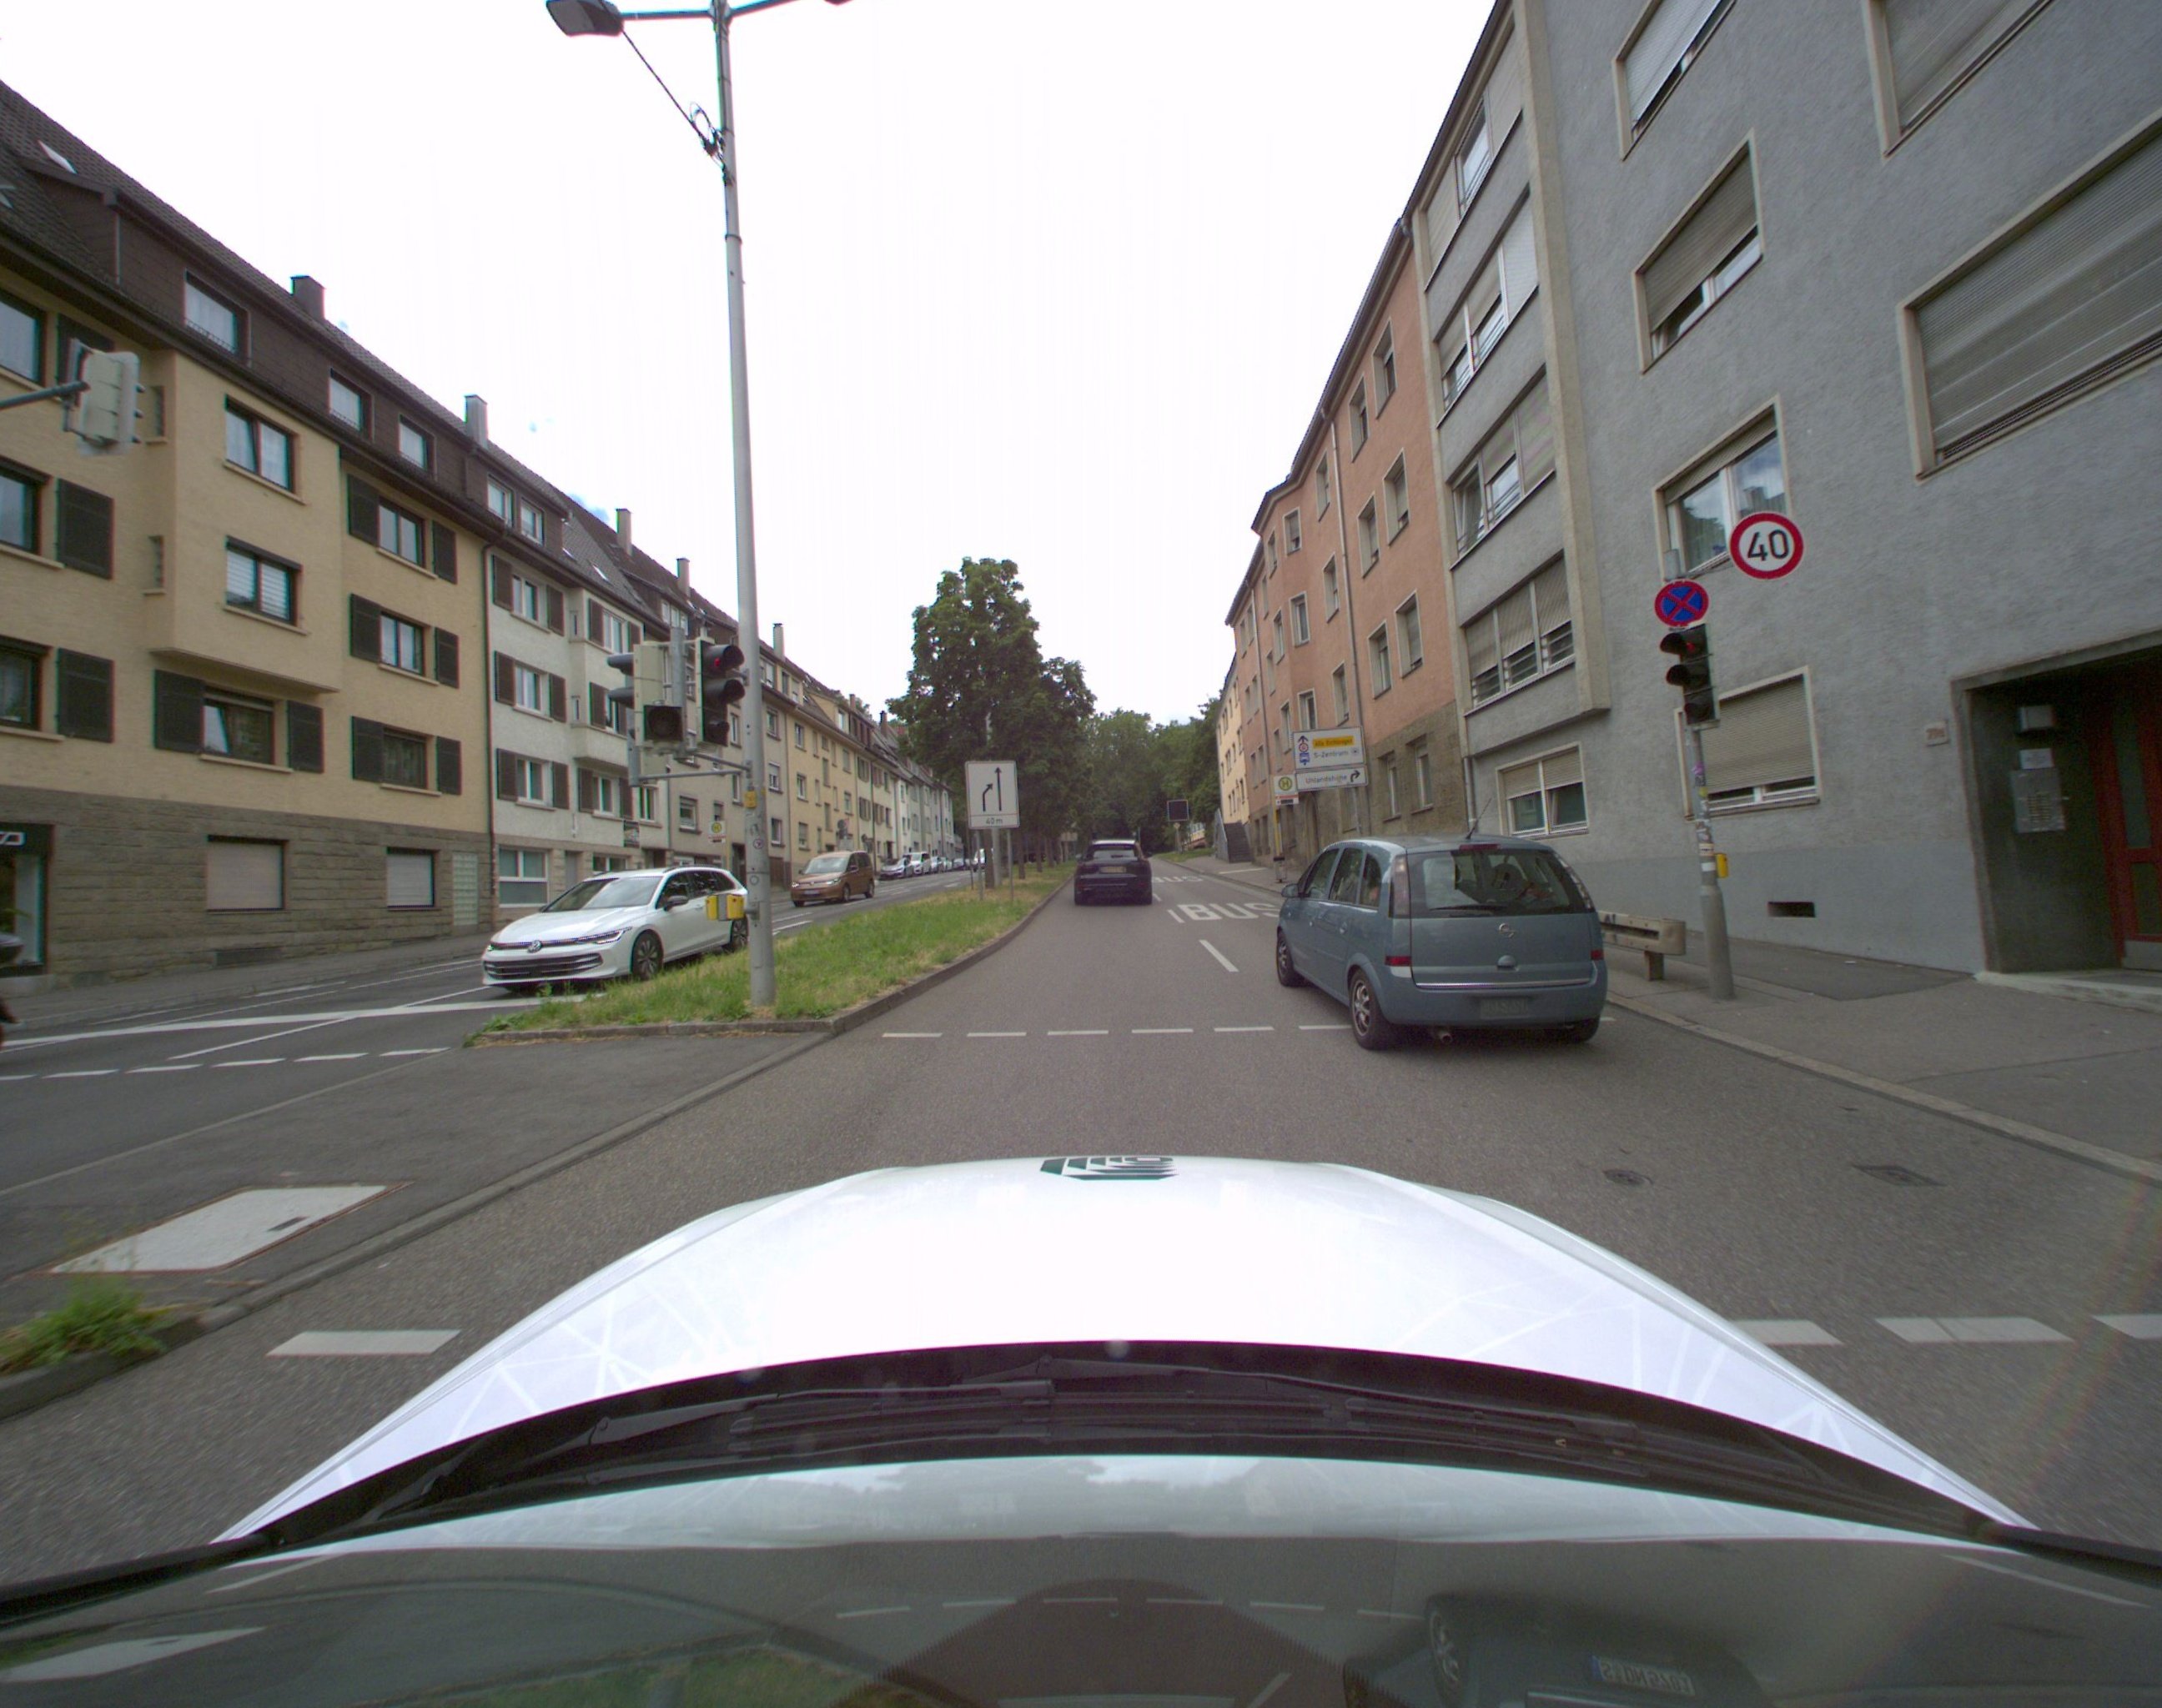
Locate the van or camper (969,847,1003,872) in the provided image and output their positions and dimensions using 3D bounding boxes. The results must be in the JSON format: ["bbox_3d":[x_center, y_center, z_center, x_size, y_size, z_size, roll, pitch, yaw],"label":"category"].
[{"bbox_3d":[-7.490,0.413,64.518,1.900,1.761,4.657,-3,0,2],"label":"van or camper"}]

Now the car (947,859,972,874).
[{"bbox_3d":[-12.788,1.259,85.746,1.988,1.423,4.208,-4,0,-2],"label":"car"}]

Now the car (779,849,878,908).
[{"bbox_3d":[-8.745,0.795,28.609,1.872,1.816,4.354,-3,0,3],"label":"car"}]

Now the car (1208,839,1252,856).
[{"bbox_3d":[15.496,-0.693,84.890,4.135,1.428,1.849,-5,1,-23],"label":"car"}]

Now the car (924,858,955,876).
[{"bbox_3d":[-13.228,1.231,76.431,1.986,1.474,4.160,-4,0,2],"label":"car"}]

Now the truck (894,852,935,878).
[{"bbox_3d":[-13.379,0.864,65.711,1.987,1.920,5.348,-4,0,1],"label":"truck"}]

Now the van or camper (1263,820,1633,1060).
[{"bbox_3d":[2.883,0.564,7.317,1.729,1.578,3.647,-2,0,1],"label":"van or camper"}]

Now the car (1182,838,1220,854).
[{"bbox_3d":[13.137,-0.872,89.063,4.024,1.417,1.975,-4,0,-44],"label":"car"}]

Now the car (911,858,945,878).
[{"bbox_3d":[-13.298,1.199,71.019,1.987,1.552,4.382,-4,0,1],"label":"car"}]

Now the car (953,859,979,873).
[{"bbox_3d":[-12.828,1.317,91.224,1.986,1.400,4.520,-4,-1,2],"label":"car"}]

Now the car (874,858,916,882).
[{"bbox_3d":[-13.524,1.154,59.525,1.987,1.552,4.158,-4,0,1],"label":"car"}]

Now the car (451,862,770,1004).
[{"bbox_3d":[-6.299,0.929,11.677,1.739,1.467,4.587,-4,0,1],"label":"car"}]

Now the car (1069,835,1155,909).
[{"bbox_3d":[0.864,0.461,21.838,1.985,1.653,4.003,-4,-1,3],"label":"car"}]

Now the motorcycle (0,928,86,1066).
[{"bbox_3d":[-10.042,1.322,6.838,0.542,1.184,2.207,-3,-1,3],"label":"motorcycle"}]
